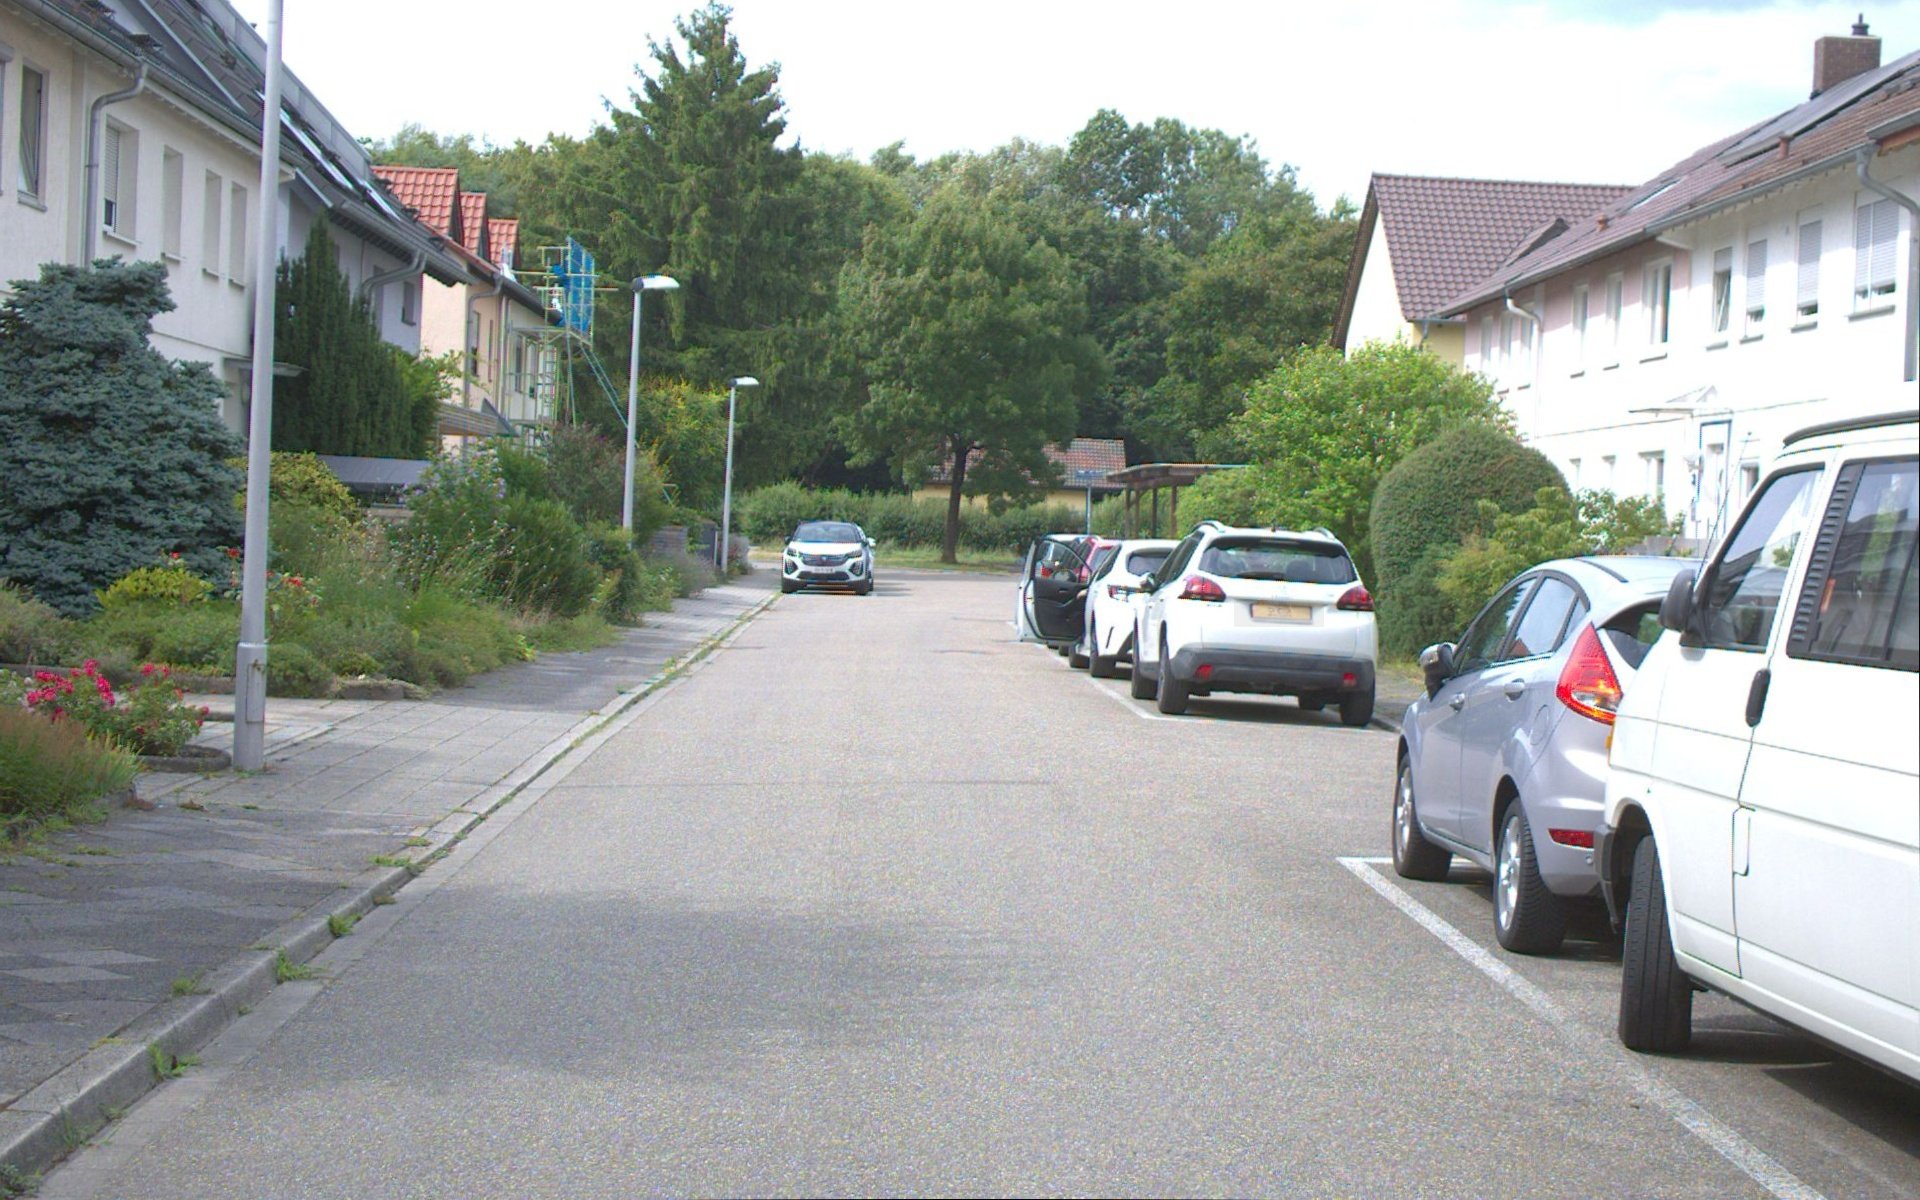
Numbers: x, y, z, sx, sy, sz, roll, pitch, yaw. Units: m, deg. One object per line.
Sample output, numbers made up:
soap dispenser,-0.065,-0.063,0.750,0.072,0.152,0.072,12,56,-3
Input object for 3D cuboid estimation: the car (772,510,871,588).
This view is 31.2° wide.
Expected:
car,-2.917,-1.110,73.122,1.934,1.551,4.635,2,1,-1

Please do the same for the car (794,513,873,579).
car,-3.074,-1.335,83.979,1.791,1.526,4.140,2,1,-1

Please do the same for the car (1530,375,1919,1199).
car,3.015,0.472,8.756,2.020,1.940,4.748,2,1,-3

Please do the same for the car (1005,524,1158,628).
car,1.801,-0.396,52.292,1.864,1.412,4.254,2,1,-4

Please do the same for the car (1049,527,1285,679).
car,2.087,-0.022,35.949,1.837,1.408,4.638,2,1,-4

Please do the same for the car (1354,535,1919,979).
car,2.821,0.507,13.861,1.900,1.454,4.130,2,1,-1

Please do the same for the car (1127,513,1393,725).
car,2.427,0.097,28.691,1.713,1.538,3.974,4,1,-1

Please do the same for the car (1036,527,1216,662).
car,1.964,-0.119,41.963,1.773,1.431,4.826,4,1,-1

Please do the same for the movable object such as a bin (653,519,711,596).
movable object such as a bin,-4.931,-0.759,60.956,0.949,1.307,1.001,2,1,-2
